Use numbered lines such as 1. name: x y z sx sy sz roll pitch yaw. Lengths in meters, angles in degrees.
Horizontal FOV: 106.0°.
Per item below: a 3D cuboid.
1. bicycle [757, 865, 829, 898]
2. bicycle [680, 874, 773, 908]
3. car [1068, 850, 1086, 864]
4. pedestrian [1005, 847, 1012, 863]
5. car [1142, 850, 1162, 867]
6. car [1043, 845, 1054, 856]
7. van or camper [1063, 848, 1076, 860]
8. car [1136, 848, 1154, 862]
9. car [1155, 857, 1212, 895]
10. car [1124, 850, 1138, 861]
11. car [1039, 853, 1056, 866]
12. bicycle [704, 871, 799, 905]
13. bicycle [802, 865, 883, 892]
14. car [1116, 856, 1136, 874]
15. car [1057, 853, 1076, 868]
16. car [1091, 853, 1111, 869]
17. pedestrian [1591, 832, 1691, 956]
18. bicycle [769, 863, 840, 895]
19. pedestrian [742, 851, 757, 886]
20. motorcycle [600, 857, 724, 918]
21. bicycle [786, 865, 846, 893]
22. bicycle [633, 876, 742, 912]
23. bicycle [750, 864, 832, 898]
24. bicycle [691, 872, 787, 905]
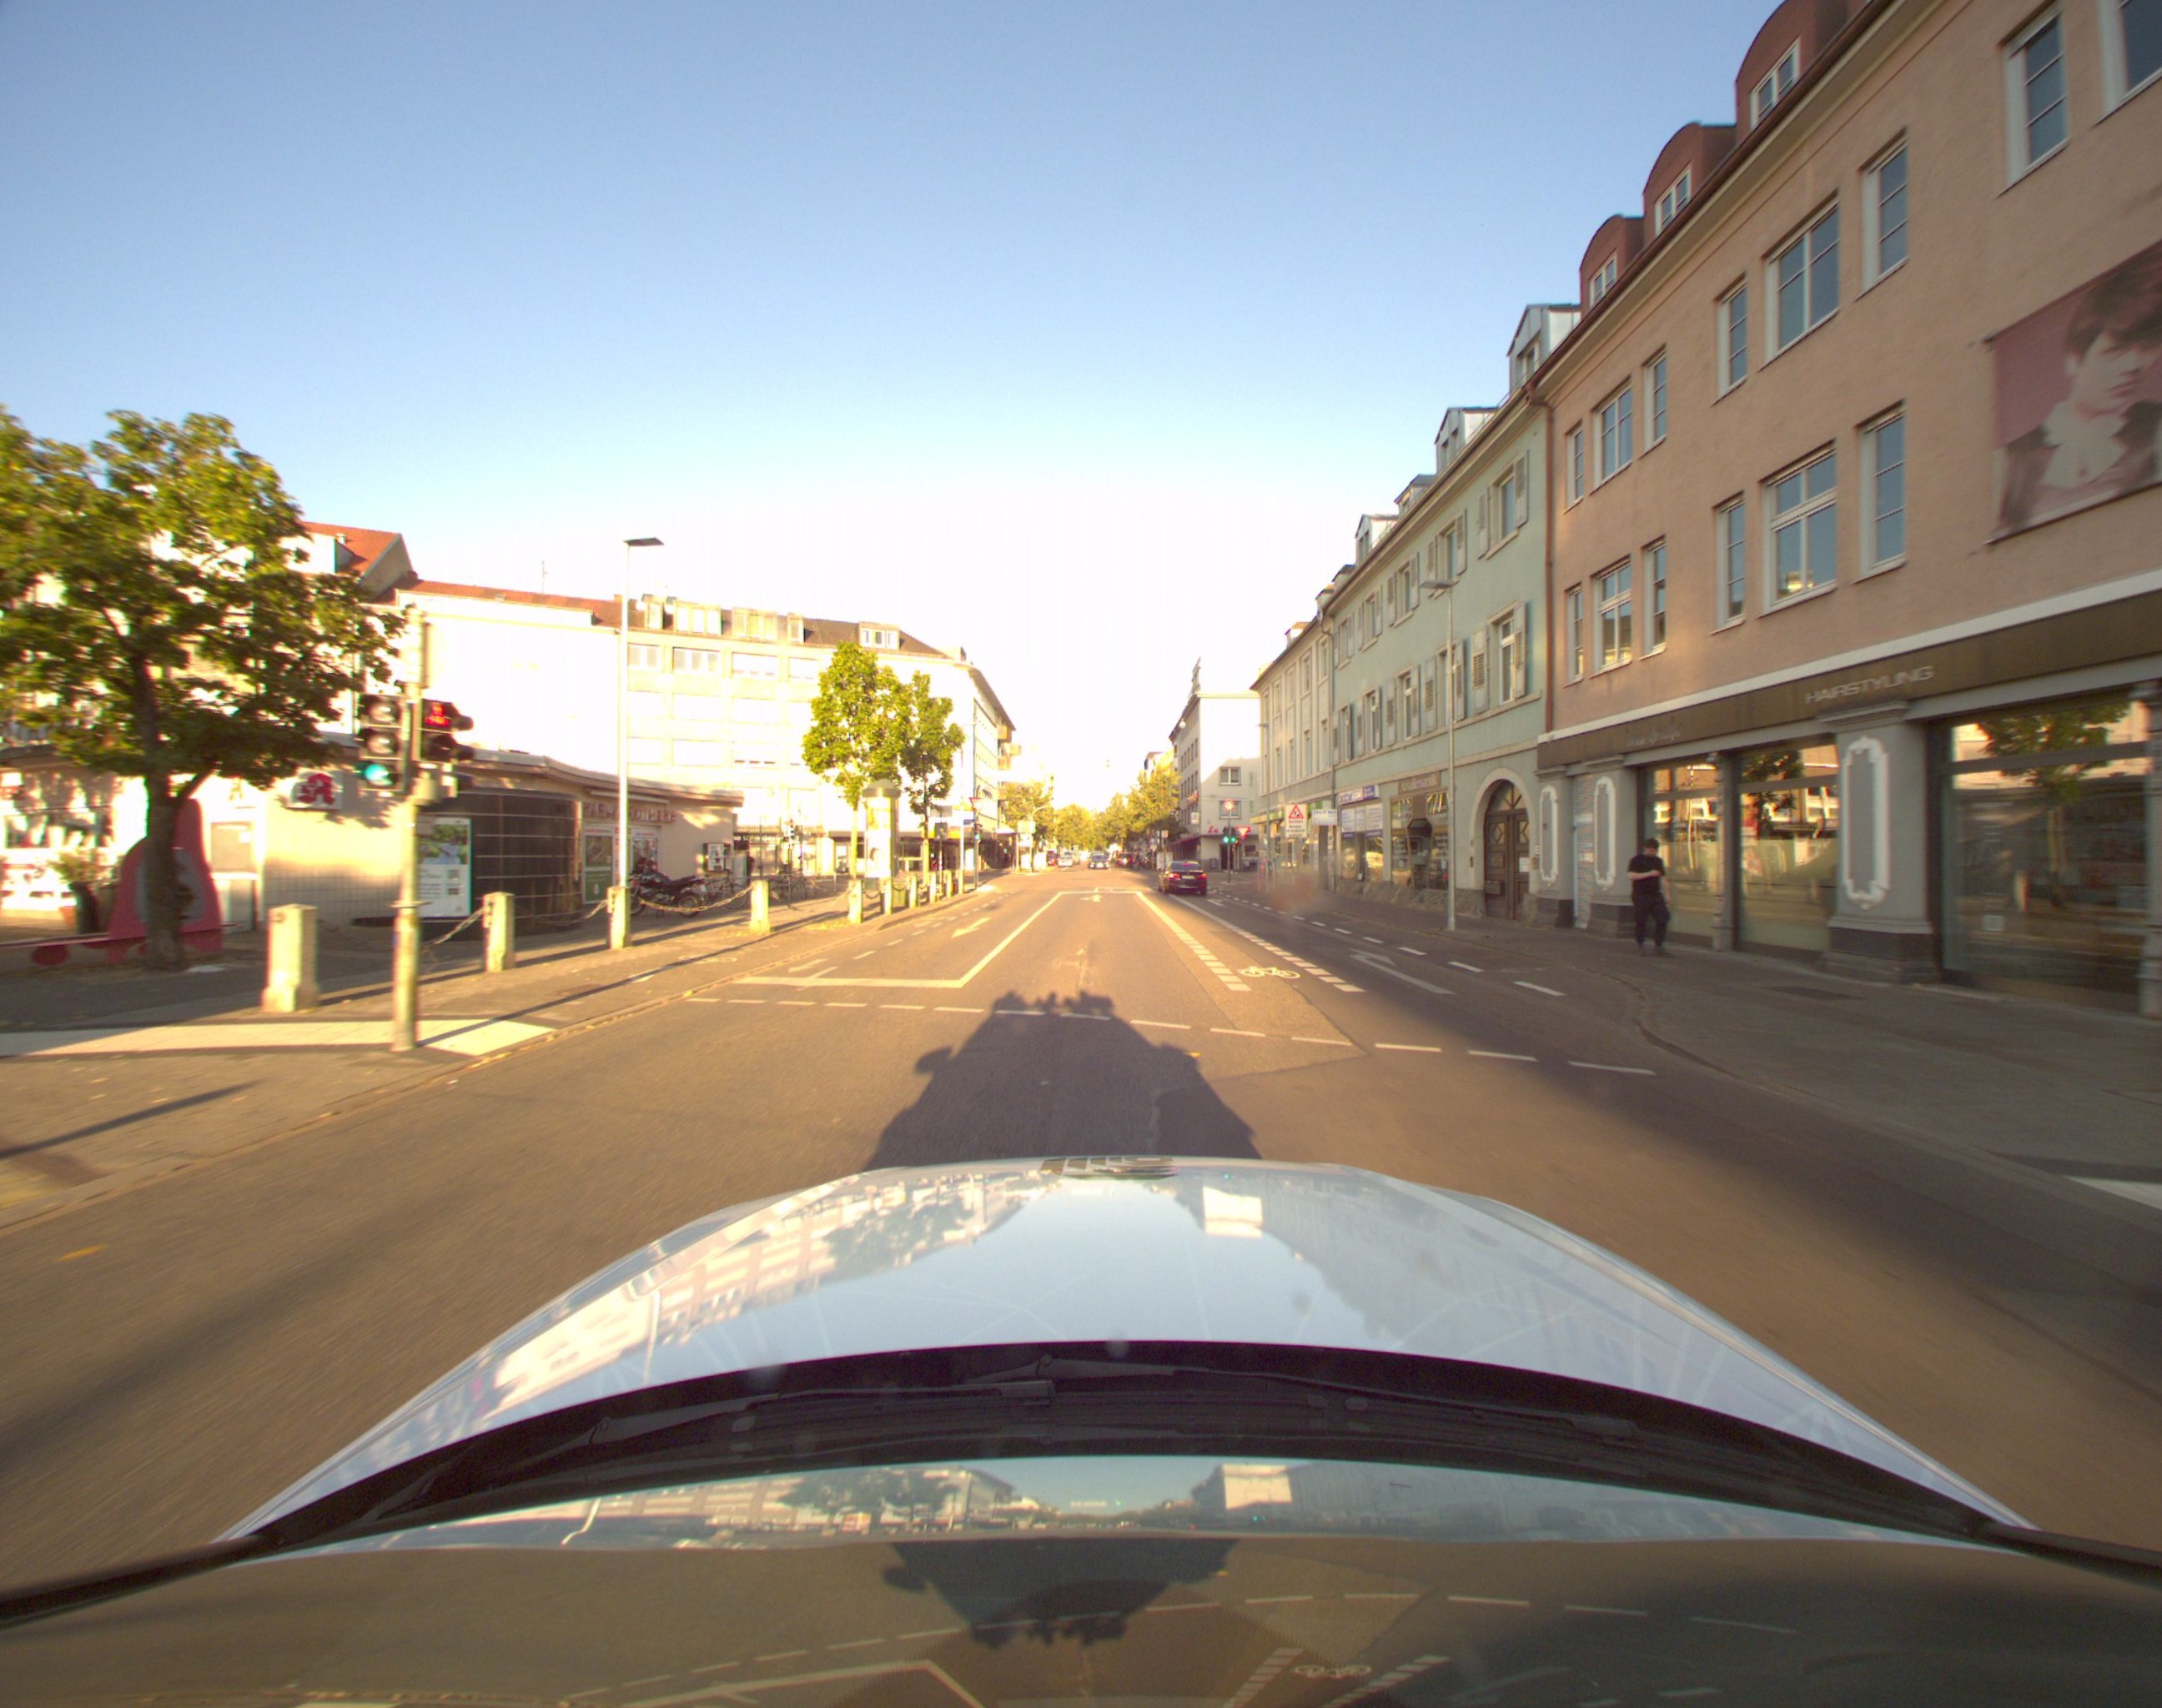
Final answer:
1. bicycle: -10.241 0.963 29.010 2.229 1.135 0.811 0 0 -2
2. bicycle: -9.987 1.042 23.000 2.320 0.919 0.700 0 0 -2
3. car: -0.500 0.396 105.470 1.985 1.750 4.003 1 0 3
4. pedestrian: -7.702 0.131 86.343 0.600 1.721 0.575 0 0 -13
5. car: 7.718 0.463 89.049 1.986 1.779 4.002 0 0 2
6. car: -6.171 -0.700 154.484 1.820 2.013 3.679 1 0 3
7. van or camper: -2.398 -0.055 165.132 2.466 2.405 3.997 1 0 -2
8. car: 7.721 0.114 98.303 1.986 1.617 4.002 0 0 2
9. car: 4.348 0.889 35.196 1.883 1.492 4.203 0 0 -1
10. car: 7.669 0.260 125.796 1.776 1.596 3.632 0 0 -2
11. car: -4.420 0.695 107.248 1.886 1.596 4.003 1 0 3
12. bicycle: -10.138 1.026 25.115 2.516 0.997 0.933 0 0 -2
13. bicycle: -9.417 0.964 32.233 2.929 1.022 0.844 0 0 3
14. car: 4.701 1.134 85.526 1.986 1.750 4.002 0 0 2
15. car: -1.699 0.725 94.683 1.886 1.596 4.003 1 0 3
16. car: 1.949 0.639 78.921 1.877 1.486 4.003 0 0 3
17. pedestrian: 8.404 0.578 12.263 0.755 1.777 1.047 0 0 -3
18. bicycle: -10.139 0.908 29.926 2.314 1.131 0.800 0 0 2
19. pedestrian: -15.091 0.651 37.072 0.551 1.610 0.636 0 0 -33
20. motorcycle: -10.075 0.796 19.655 2.405 1.426 1.113 0 0 0
21. bicycle: -10.157 0.966 31.276 2.083 1.063 0.682 0 0 1
22. bicycle: -10.445 1.046 21.664 2.516 0.919 0.700 0 0 -2
23. bicycle: -9.886 0.922 27.790 2.516 1.146 0.700 0 0 -2
24. bicycle: -10.044 1.004 23.994 2.516 0.919 0.700 0 0 -2
